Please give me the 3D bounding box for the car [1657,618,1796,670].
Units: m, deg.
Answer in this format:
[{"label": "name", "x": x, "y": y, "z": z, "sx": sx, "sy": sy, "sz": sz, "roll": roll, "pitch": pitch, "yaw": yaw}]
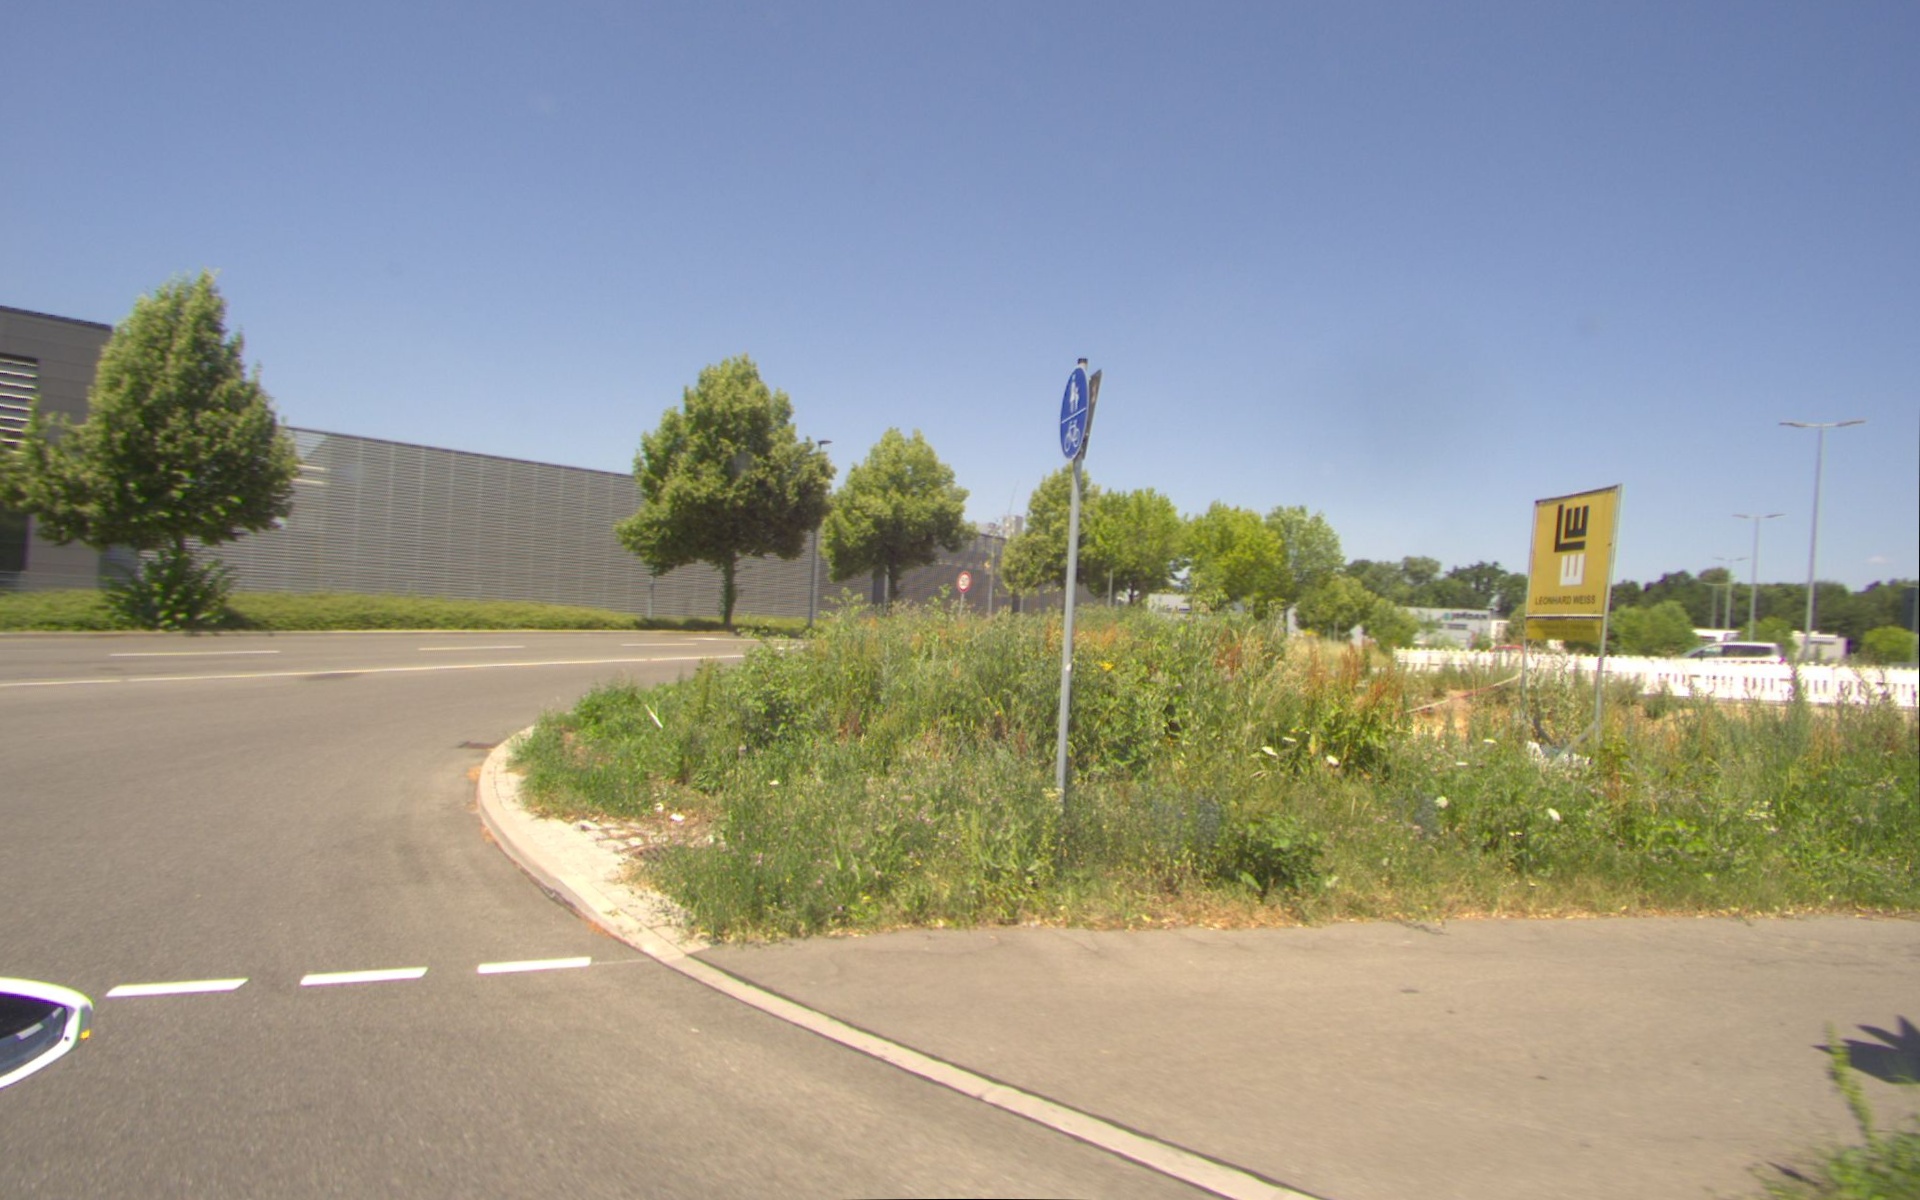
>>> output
[{"label": "car", "x": 31.778, "y": 1.798, "z": 41.697, "sx": 4.415, "sy": 1.939, "sz": 1.929, "roll": 1, "pitch": -1, "yaw": 34}]
